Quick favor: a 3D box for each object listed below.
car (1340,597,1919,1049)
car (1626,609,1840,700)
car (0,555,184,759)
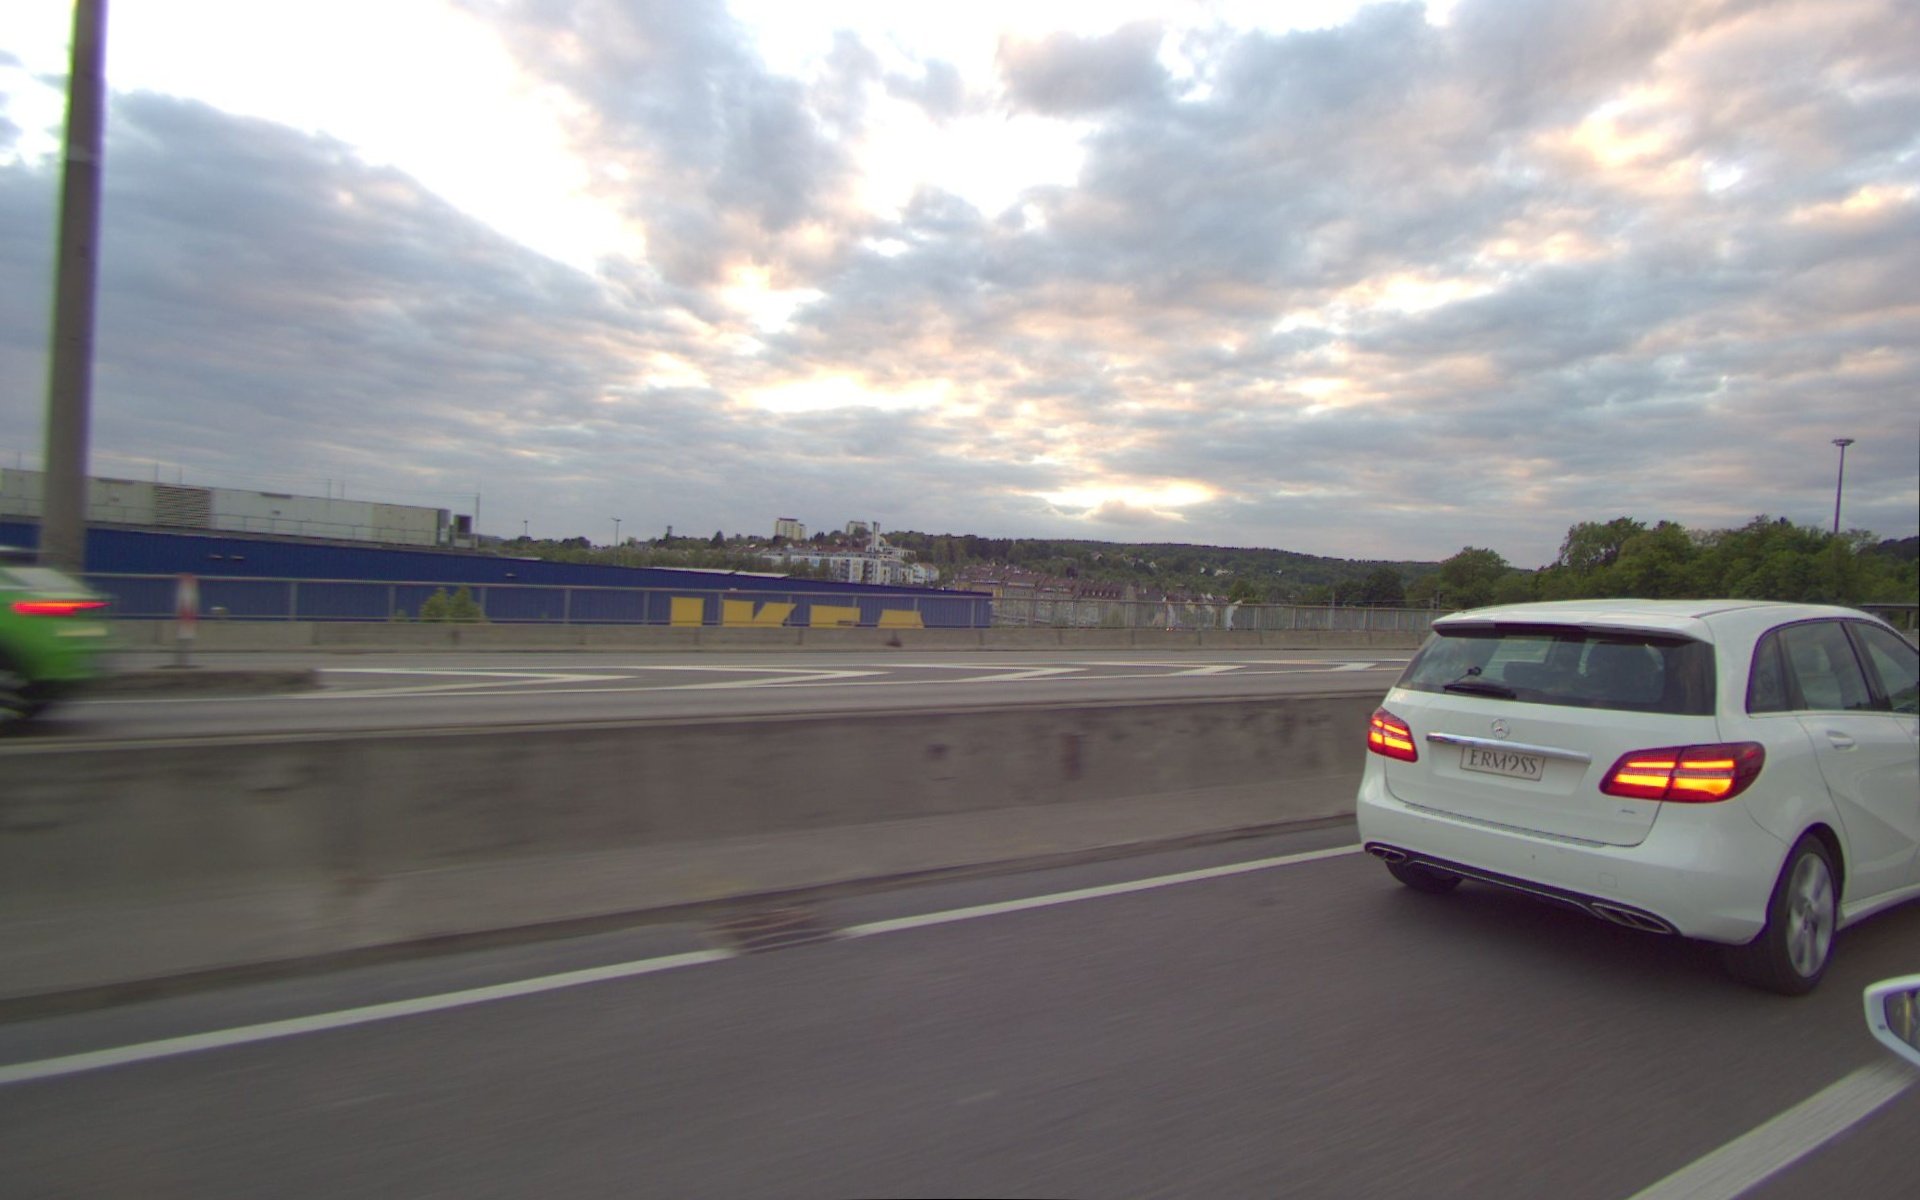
[{"bbox_3d":[4.312,0.836,5.432,4.729,1.557,1.682,2,-1,-32],"label":"car"},{"bbox_3d":[14.990,1.014,19.419,4.495,1.554,1.801,2,0,-32],"label":"car"},{"bbox_3d":[-8.579,0.387,7.590,4.031,1.514,1.703,2,-1,-29],"label":"car"}]
